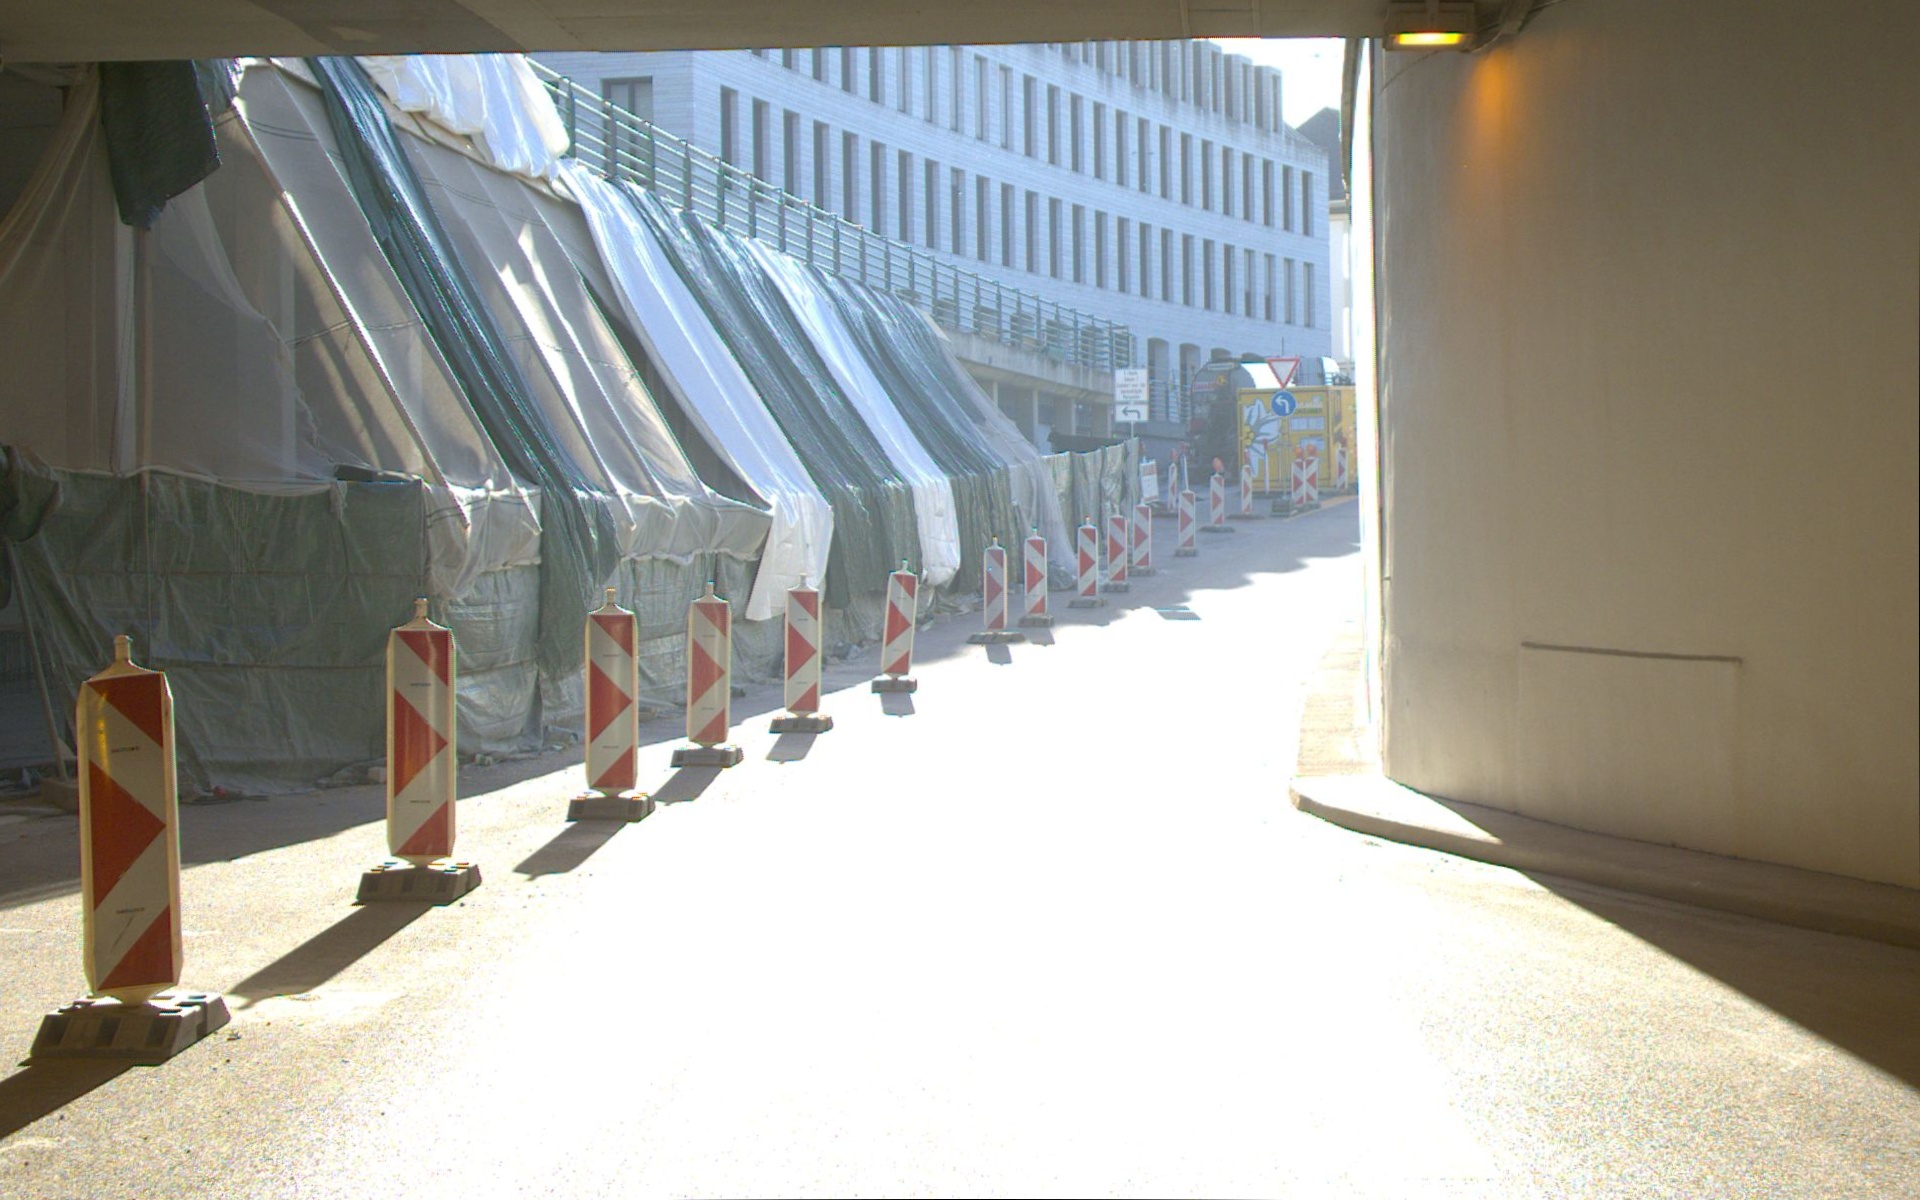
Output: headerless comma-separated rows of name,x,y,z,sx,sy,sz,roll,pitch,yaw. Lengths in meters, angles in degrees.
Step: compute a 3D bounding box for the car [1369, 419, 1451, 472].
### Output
car,14.029,-4.812,106.919,1.777,1.598,3.997,1,3,19
